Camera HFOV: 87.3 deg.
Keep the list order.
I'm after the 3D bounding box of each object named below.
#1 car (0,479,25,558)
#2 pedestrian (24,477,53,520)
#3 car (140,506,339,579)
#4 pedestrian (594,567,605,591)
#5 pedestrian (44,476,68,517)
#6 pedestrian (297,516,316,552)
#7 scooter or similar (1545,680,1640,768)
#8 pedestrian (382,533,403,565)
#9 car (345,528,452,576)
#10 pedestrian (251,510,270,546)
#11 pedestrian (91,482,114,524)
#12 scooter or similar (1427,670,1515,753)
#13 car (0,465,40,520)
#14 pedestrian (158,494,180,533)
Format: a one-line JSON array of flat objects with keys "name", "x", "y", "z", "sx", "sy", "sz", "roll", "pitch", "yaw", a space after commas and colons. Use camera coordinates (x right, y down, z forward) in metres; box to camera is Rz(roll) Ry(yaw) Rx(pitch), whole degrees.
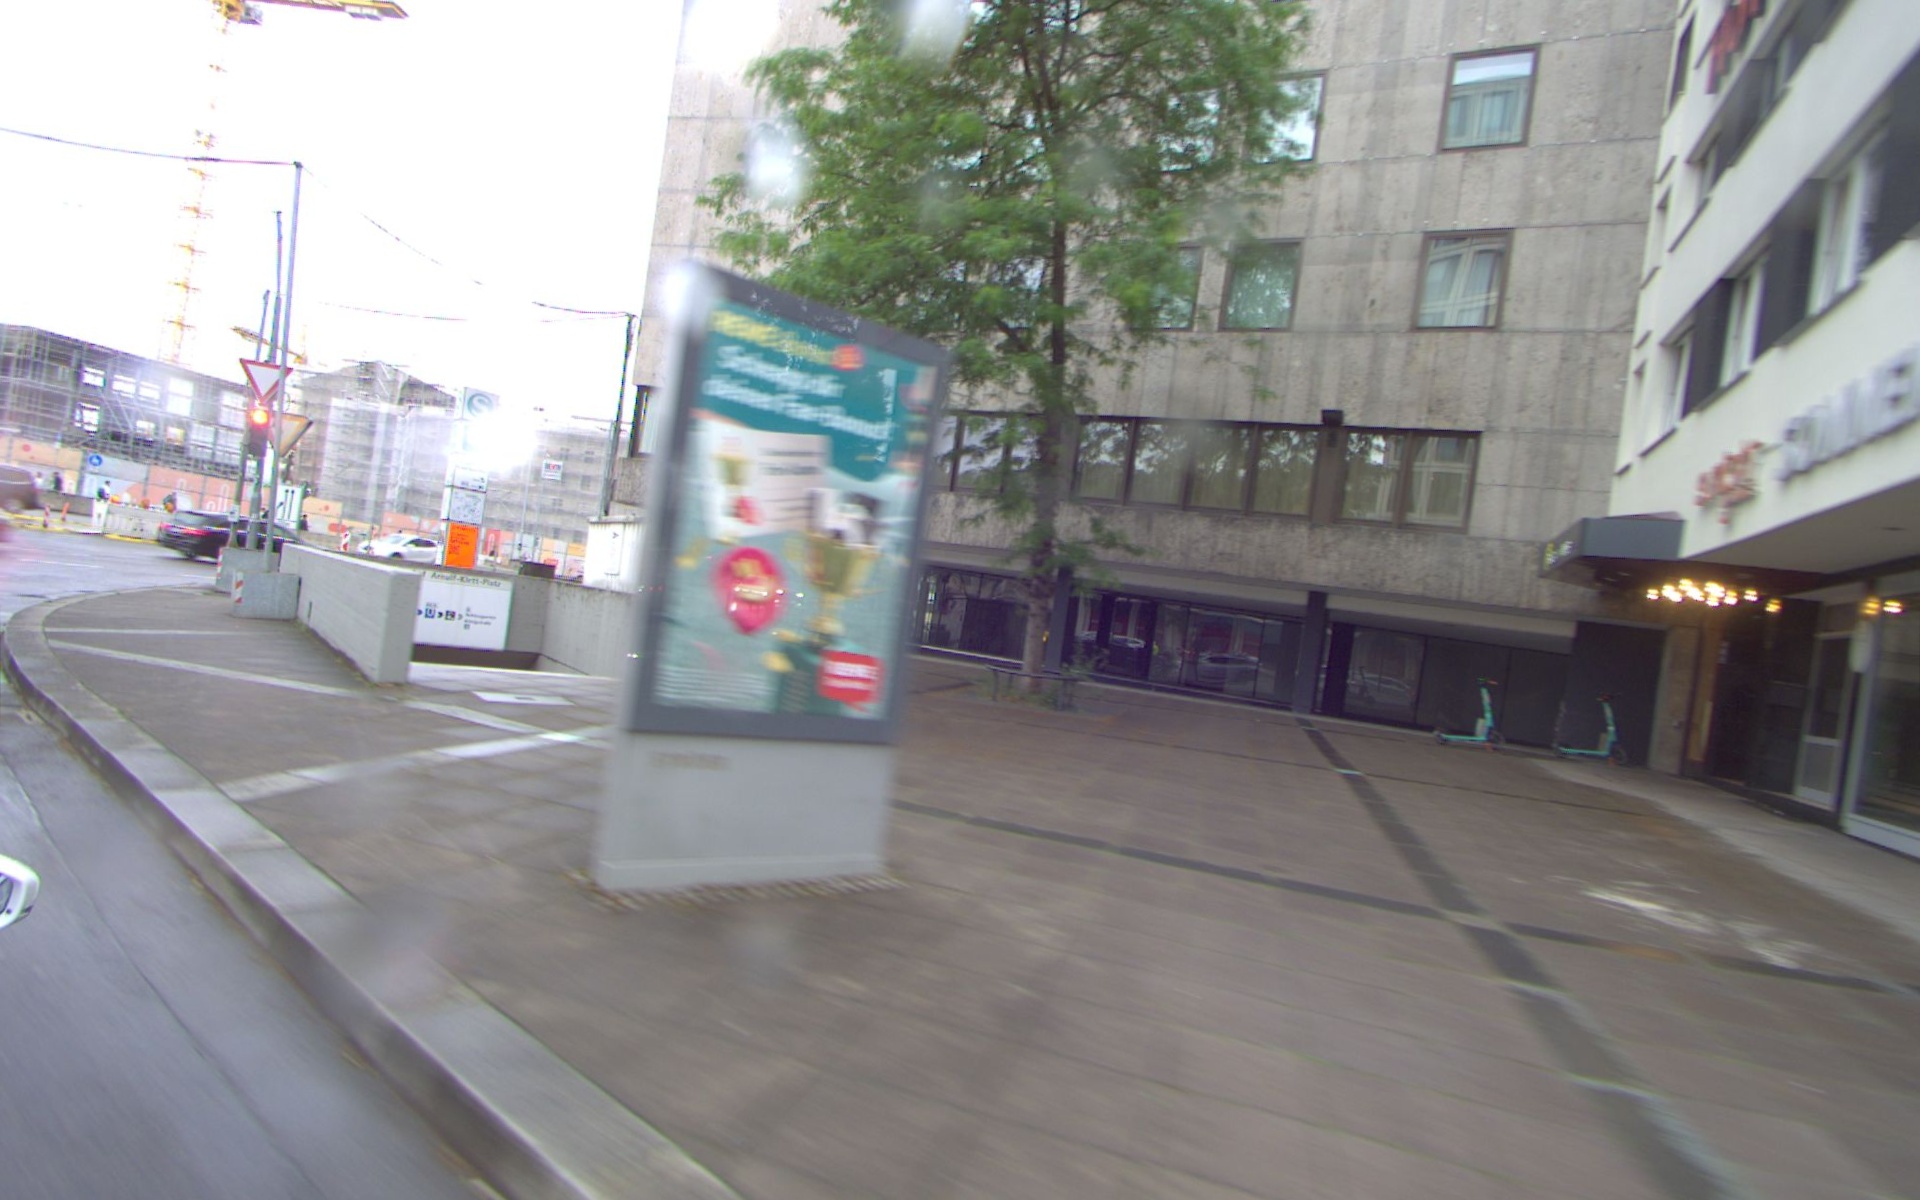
[{"name": "car", "x": -20.824, "y": -1.924, "z": 19.047, "sx": 1.967, "sy": 1.523, "sz": 4.107, "roll": 6, "pitch": -3, "yaw": 32}, {"name": "pedestrian", "x": -44.937, "y": -4.941, "z": 49.044, "sx": 0.620, "sy": 1.923, "sz": 0.658, "roll": 7, "pitch": -1, "yaw": 21}, {"name": "car", "x": -20.539, "y": -1.600, "z": 28.875, "sx": 1.965, "sy": 1.360, "sz": 4.112, "roll": 7, "pitch": -3, "yaw": 27}, {"name": "pedestrian", "x": -29.891, "y": -1.756, "z": 83.375, "sx": 0.356, "sy": 1.920, "sz": 0.576, "roll": 7, "pitch": -1, "yaw": 24}, {"name": "pedestrian", "x": -44.079, "y": -5.049, "z": 49.059, "sx": 0.356, "sy": 1.920, "sz": 0.576, "roll": 7, "pitch": -1, "yaw": 24}, {"name": "pedestrian", "x": -37.015, "y": -3.743, "z": 56.966, "sx": 0.356, "sy": 1.920, "sz": 0.576, "roll": 7, "pitch": -1, "yaw": 24}, {"name": "scooter or similar", "x": 11.069, "y": 2.155, "z": 17.631, "sx": 1.208, "sy": 1.352, "sz": 0.520, "roll": 7, "pitch": -1, "yaw": 22}, {"name": "pedestrian", "x": -36.916, "y": -3.336, "z": 65.433, "sx": 0.555, "sy": 1.920, "sz": 0.800, "roll": 7, "pitch": -1, "yaw": 20}, {"name": "car", "x": -26.418, "y": -2.231, "z": 47.491, "sx": 1.962, "sy": 1.569, "sz": 4.059, "roll": 7, "pitch": -2, "yaw": 16}, {"name": "pedestrian", "x": -39.775, "y": -4.105, "z": 57.197, "sx": 0.355, "sy": 1.920, "sz": 0.577, "roll": 7, "pitch": -1, "yaw": 22}, {"name": "pedestrian", "x": -42.302, "y": -4.780, "z": 49.609, "sx": 0.356, "sy": 1.920, "sz": 0.576, "roll": 7, "pitch": -1, "yaw": 24}, {"name": "scooter or similar", "x": 9.003, "y": 1.946, "z": 17.756, "sx": 1.208, "sy": 1.269, "sz": 0.564, "roll": 7, "pitch": 1, "yaw": 22}, {"name": "car", "x": -34.598, "y": -4.011, "z": 34.442, "sx": 1.963, "sy": 1.753, "sz": 4.004, "roll": 7, "pitch": -2, "yaw": 19}, {"name": "pedestrian", "x": -40.850, "y": -4.478, "z": 51.972, "sx": 0.356, "sy": 1.920, "sz": 0.576, "roll": 7, "pitch": -1, "yaw": 24}]
